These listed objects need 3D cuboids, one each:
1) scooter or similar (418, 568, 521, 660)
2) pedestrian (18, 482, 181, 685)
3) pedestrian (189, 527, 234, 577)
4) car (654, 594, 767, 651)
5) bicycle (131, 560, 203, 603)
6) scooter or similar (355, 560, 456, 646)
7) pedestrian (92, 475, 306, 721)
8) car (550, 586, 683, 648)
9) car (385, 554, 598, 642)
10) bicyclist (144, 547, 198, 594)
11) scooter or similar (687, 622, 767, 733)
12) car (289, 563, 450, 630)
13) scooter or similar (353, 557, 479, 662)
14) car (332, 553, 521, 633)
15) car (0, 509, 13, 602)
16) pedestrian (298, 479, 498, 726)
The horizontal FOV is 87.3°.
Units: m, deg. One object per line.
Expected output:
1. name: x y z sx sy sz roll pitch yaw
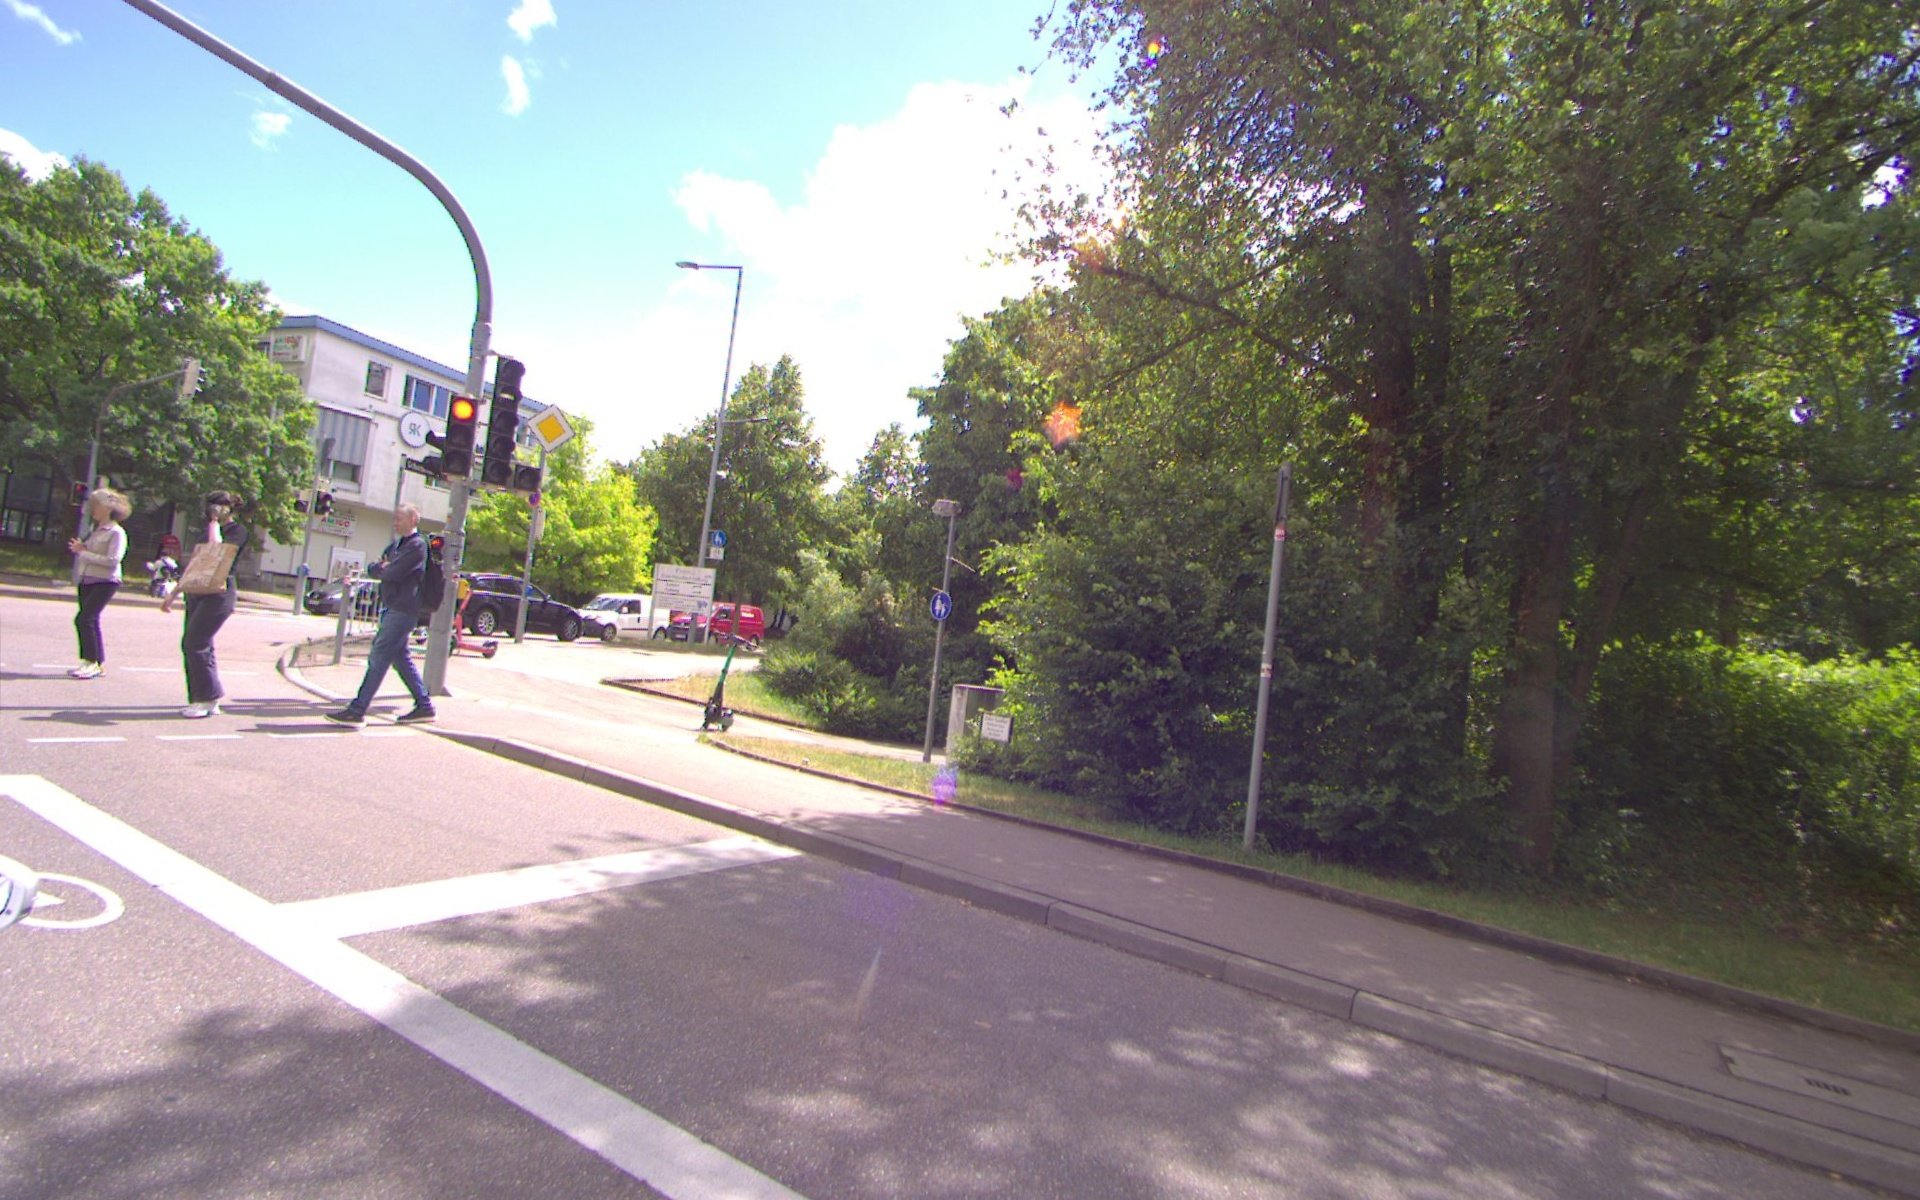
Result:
1. scooter or similar: -7.652 0.239 15.746 0.547 1.254 1.231 8 -3 23
2. pedestrian: -7.901 -0.140 9.246 0.950 1.694 0.860 7 -1 -43
3. pedestrian: -27.535 -1.749 37.013 0.890 1.662 0.772 7 -2 16
4. car: -10.313 0.976 42.077 1.964 1.885 4.822 5 -3 23
5. bicycle: -19.941 -0.468 25.290 1.778 0.828 0.793 6 -2 32
6. scooter or similar: -8.662 0.076 15.779 0.533 1.168 1.362 9 -3 8
7. pedestrian: -6.061 0.003 8.055 0.758 1.786 0.936 7 0 20
8. car: -12.597 0.676 37.215 1.963 1.737 4.576 7 -2 23
9. car: -11.066 0.035 24.177 1.962 1.571 4.526 7 -2 17
10. bicyclist: -19.769 -0.742 25.212 0.625 1.034 0.793 7 -2 31
11. scooter or similar: -3.066 1.045 13.356 0.706 1.287 1.243 10 -7 -7
12. car: -18.697 -0.073 32.066 1.963 1.573 3.923 7 -2 21
13. scooter or similar: -7.603 0.148 14.114 0.455 1.292 1.344 8 -1 38
14. car: -15.732 -0.137 29.959 1.964 1.737 4.574 7 -2 25
15. car: -12.512 -0.525 11.315 1.527 1.458 3.180 9 -2 -22
16. pedestrian: -4.856 0.044 8.737 0.881 1.964 0.968 7 -1 28
